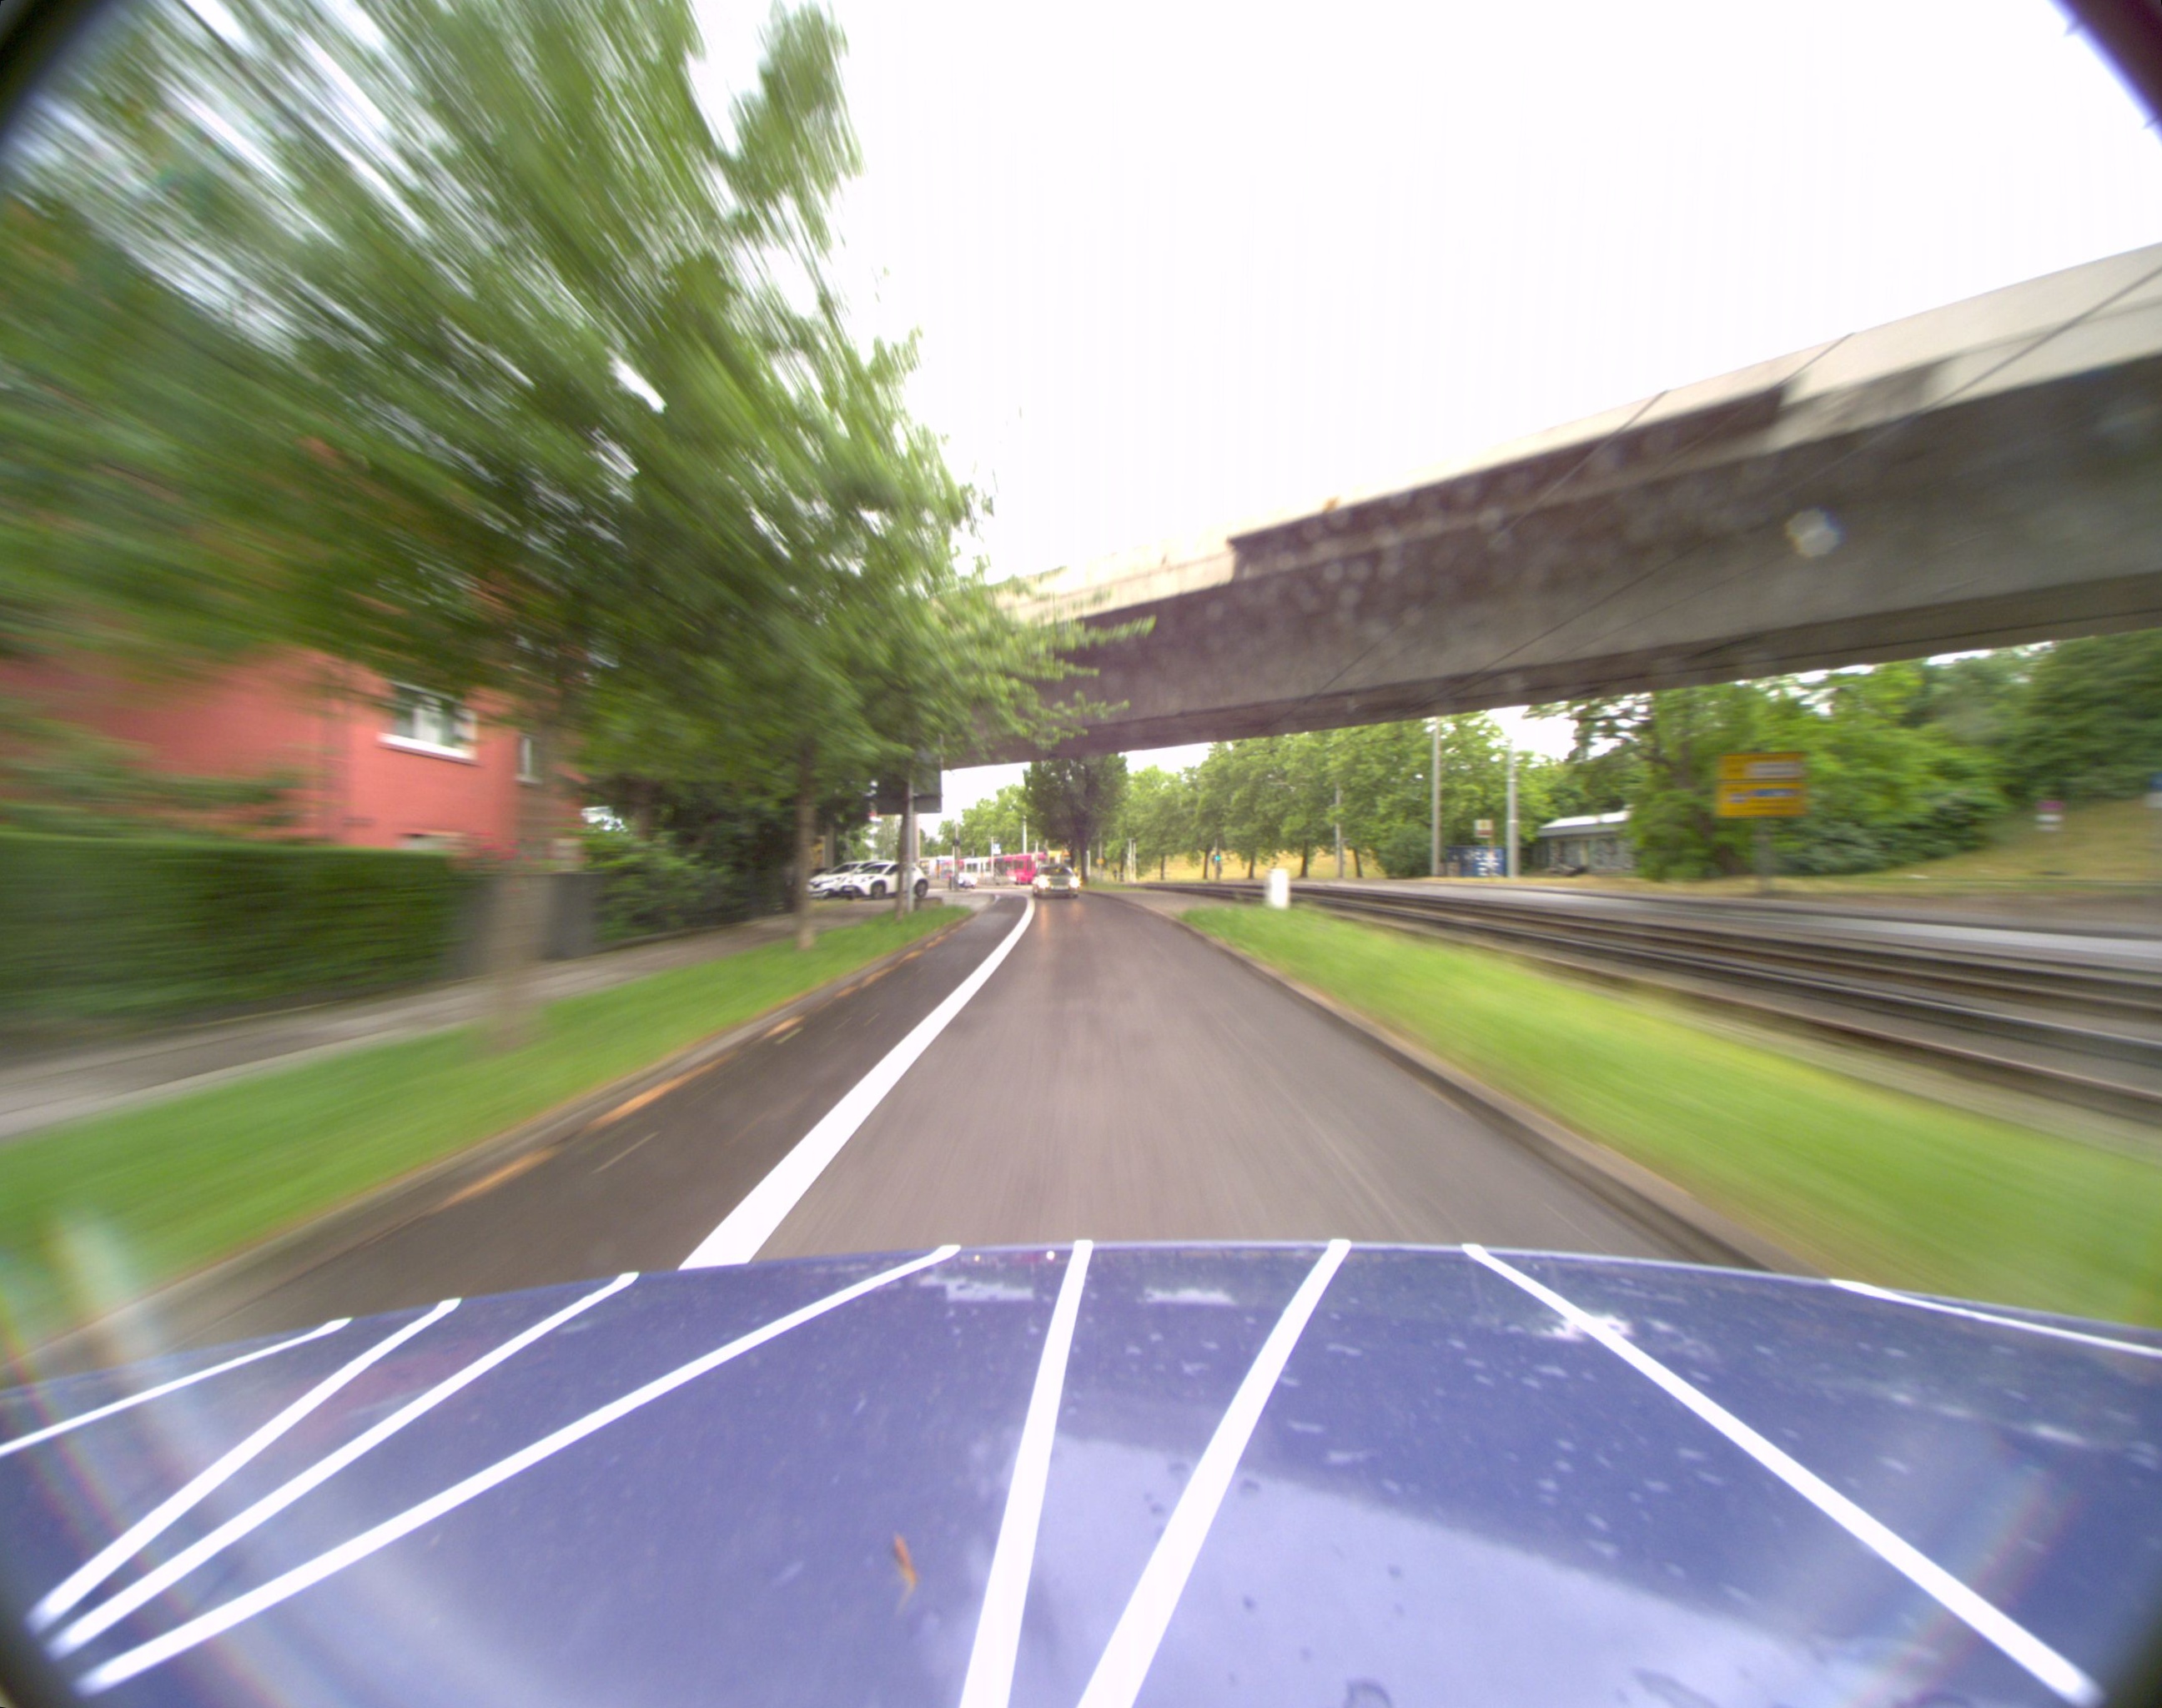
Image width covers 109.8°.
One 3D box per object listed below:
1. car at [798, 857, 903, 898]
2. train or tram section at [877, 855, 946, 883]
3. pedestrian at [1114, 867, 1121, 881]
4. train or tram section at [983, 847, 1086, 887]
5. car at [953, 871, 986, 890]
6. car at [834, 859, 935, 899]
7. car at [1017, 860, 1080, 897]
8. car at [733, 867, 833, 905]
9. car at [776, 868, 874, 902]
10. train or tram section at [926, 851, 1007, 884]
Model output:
[{"bbox_3d":[-9.872,0.988,32.789,1.962,1.621,4.032,-2,-1,30],"label":"car"},{"bbox_3d":[-26.600,2.338,117.663,2.882,3.931,19.282,-3,0,-36],"label":"train or tram section"},{"bbox_3d":[4.939,2.713,102.138,0.731,1.810,0.763,-1,-1,-17],"label":"pedestrian"},{"bbox_3d":[-5.736,1.496,85.350,2.881,3.937,19.287,-3,0,-30],"label":"train or tram section"},{"bbox_3d":[-9.956,2.328,67.555,1.784,1.493,3.992,-1,0,-25],"label":"car"},{"bbox_3d":[-7.906,0.992,30.864,1.798,1.513,3.744,-2,-1,30],"label":"car"},{"bbox_3d":[-1.471,1.071,33.150,1.783,1.492,3.995,1,-2,-17],"label":"car"},{"bbox_3d":[-14.114,1.501,36.178,1.900,1.562,4.007,-2,0,33],"label":"car"},{"bbox_3d":[-11.702,1.391,34.917,1.782,1.431,4.058,-2,-1,30],"label":"car"},{"bbox_3d":[-15.759,1.901,101.719,2.882,3.947,19.285,-3,0,-33],"label":"train or tram section"}]
